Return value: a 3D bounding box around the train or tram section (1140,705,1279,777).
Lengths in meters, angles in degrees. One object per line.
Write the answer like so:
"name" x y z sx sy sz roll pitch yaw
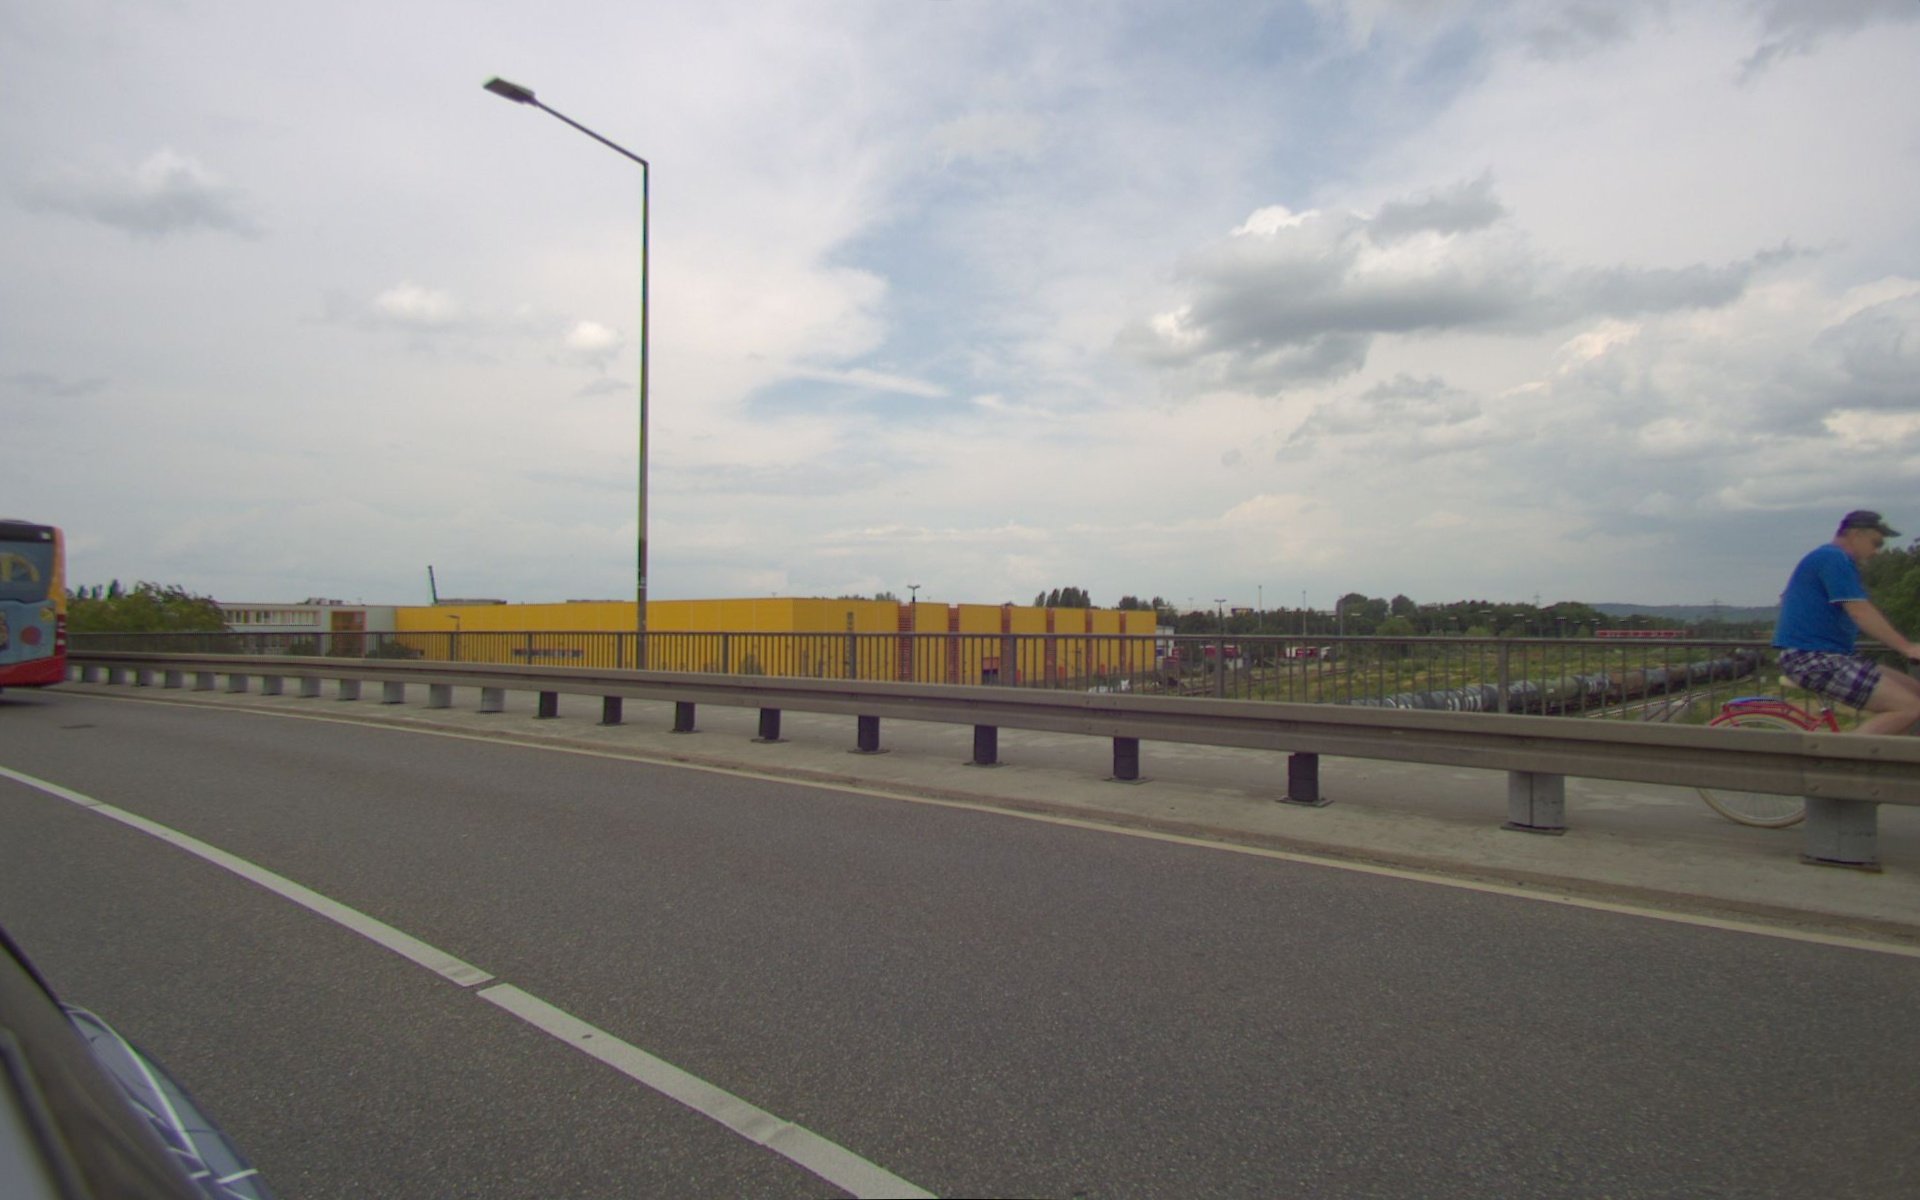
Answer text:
"train or tram section" 16.303 8.941 65.083 12.568 4.126 2.002 6 -5 -43

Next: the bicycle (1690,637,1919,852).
"bicycle" 4.942 0.733 5.254 1.810 1.053 0.487 -1 0 43

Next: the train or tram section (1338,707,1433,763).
"train or tram section" 34.703 10.822 82.139 12.568 4.126 2.102 6 -5 -43

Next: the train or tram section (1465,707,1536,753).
"train or tram section" 53.087 12.681 99.189 12.568 4.126 2.085 6 -5 -43

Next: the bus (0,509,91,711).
"bus" -21.120 0.286 19.331 12.904 3.258 3.010 -1 0 31

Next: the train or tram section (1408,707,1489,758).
"train or tram section" 43.887 11.752 90.670 12.568 4.126 2.085 6 -5 -43

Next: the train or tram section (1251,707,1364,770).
"train or tram section" 25.504 9.906 73.613 12.568 4.126 2.002 6 -5 -43

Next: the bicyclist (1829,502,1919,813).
"bicyclist" 5.020 0.282 5.236 0.757 1.551 0.604 -1 0 42
